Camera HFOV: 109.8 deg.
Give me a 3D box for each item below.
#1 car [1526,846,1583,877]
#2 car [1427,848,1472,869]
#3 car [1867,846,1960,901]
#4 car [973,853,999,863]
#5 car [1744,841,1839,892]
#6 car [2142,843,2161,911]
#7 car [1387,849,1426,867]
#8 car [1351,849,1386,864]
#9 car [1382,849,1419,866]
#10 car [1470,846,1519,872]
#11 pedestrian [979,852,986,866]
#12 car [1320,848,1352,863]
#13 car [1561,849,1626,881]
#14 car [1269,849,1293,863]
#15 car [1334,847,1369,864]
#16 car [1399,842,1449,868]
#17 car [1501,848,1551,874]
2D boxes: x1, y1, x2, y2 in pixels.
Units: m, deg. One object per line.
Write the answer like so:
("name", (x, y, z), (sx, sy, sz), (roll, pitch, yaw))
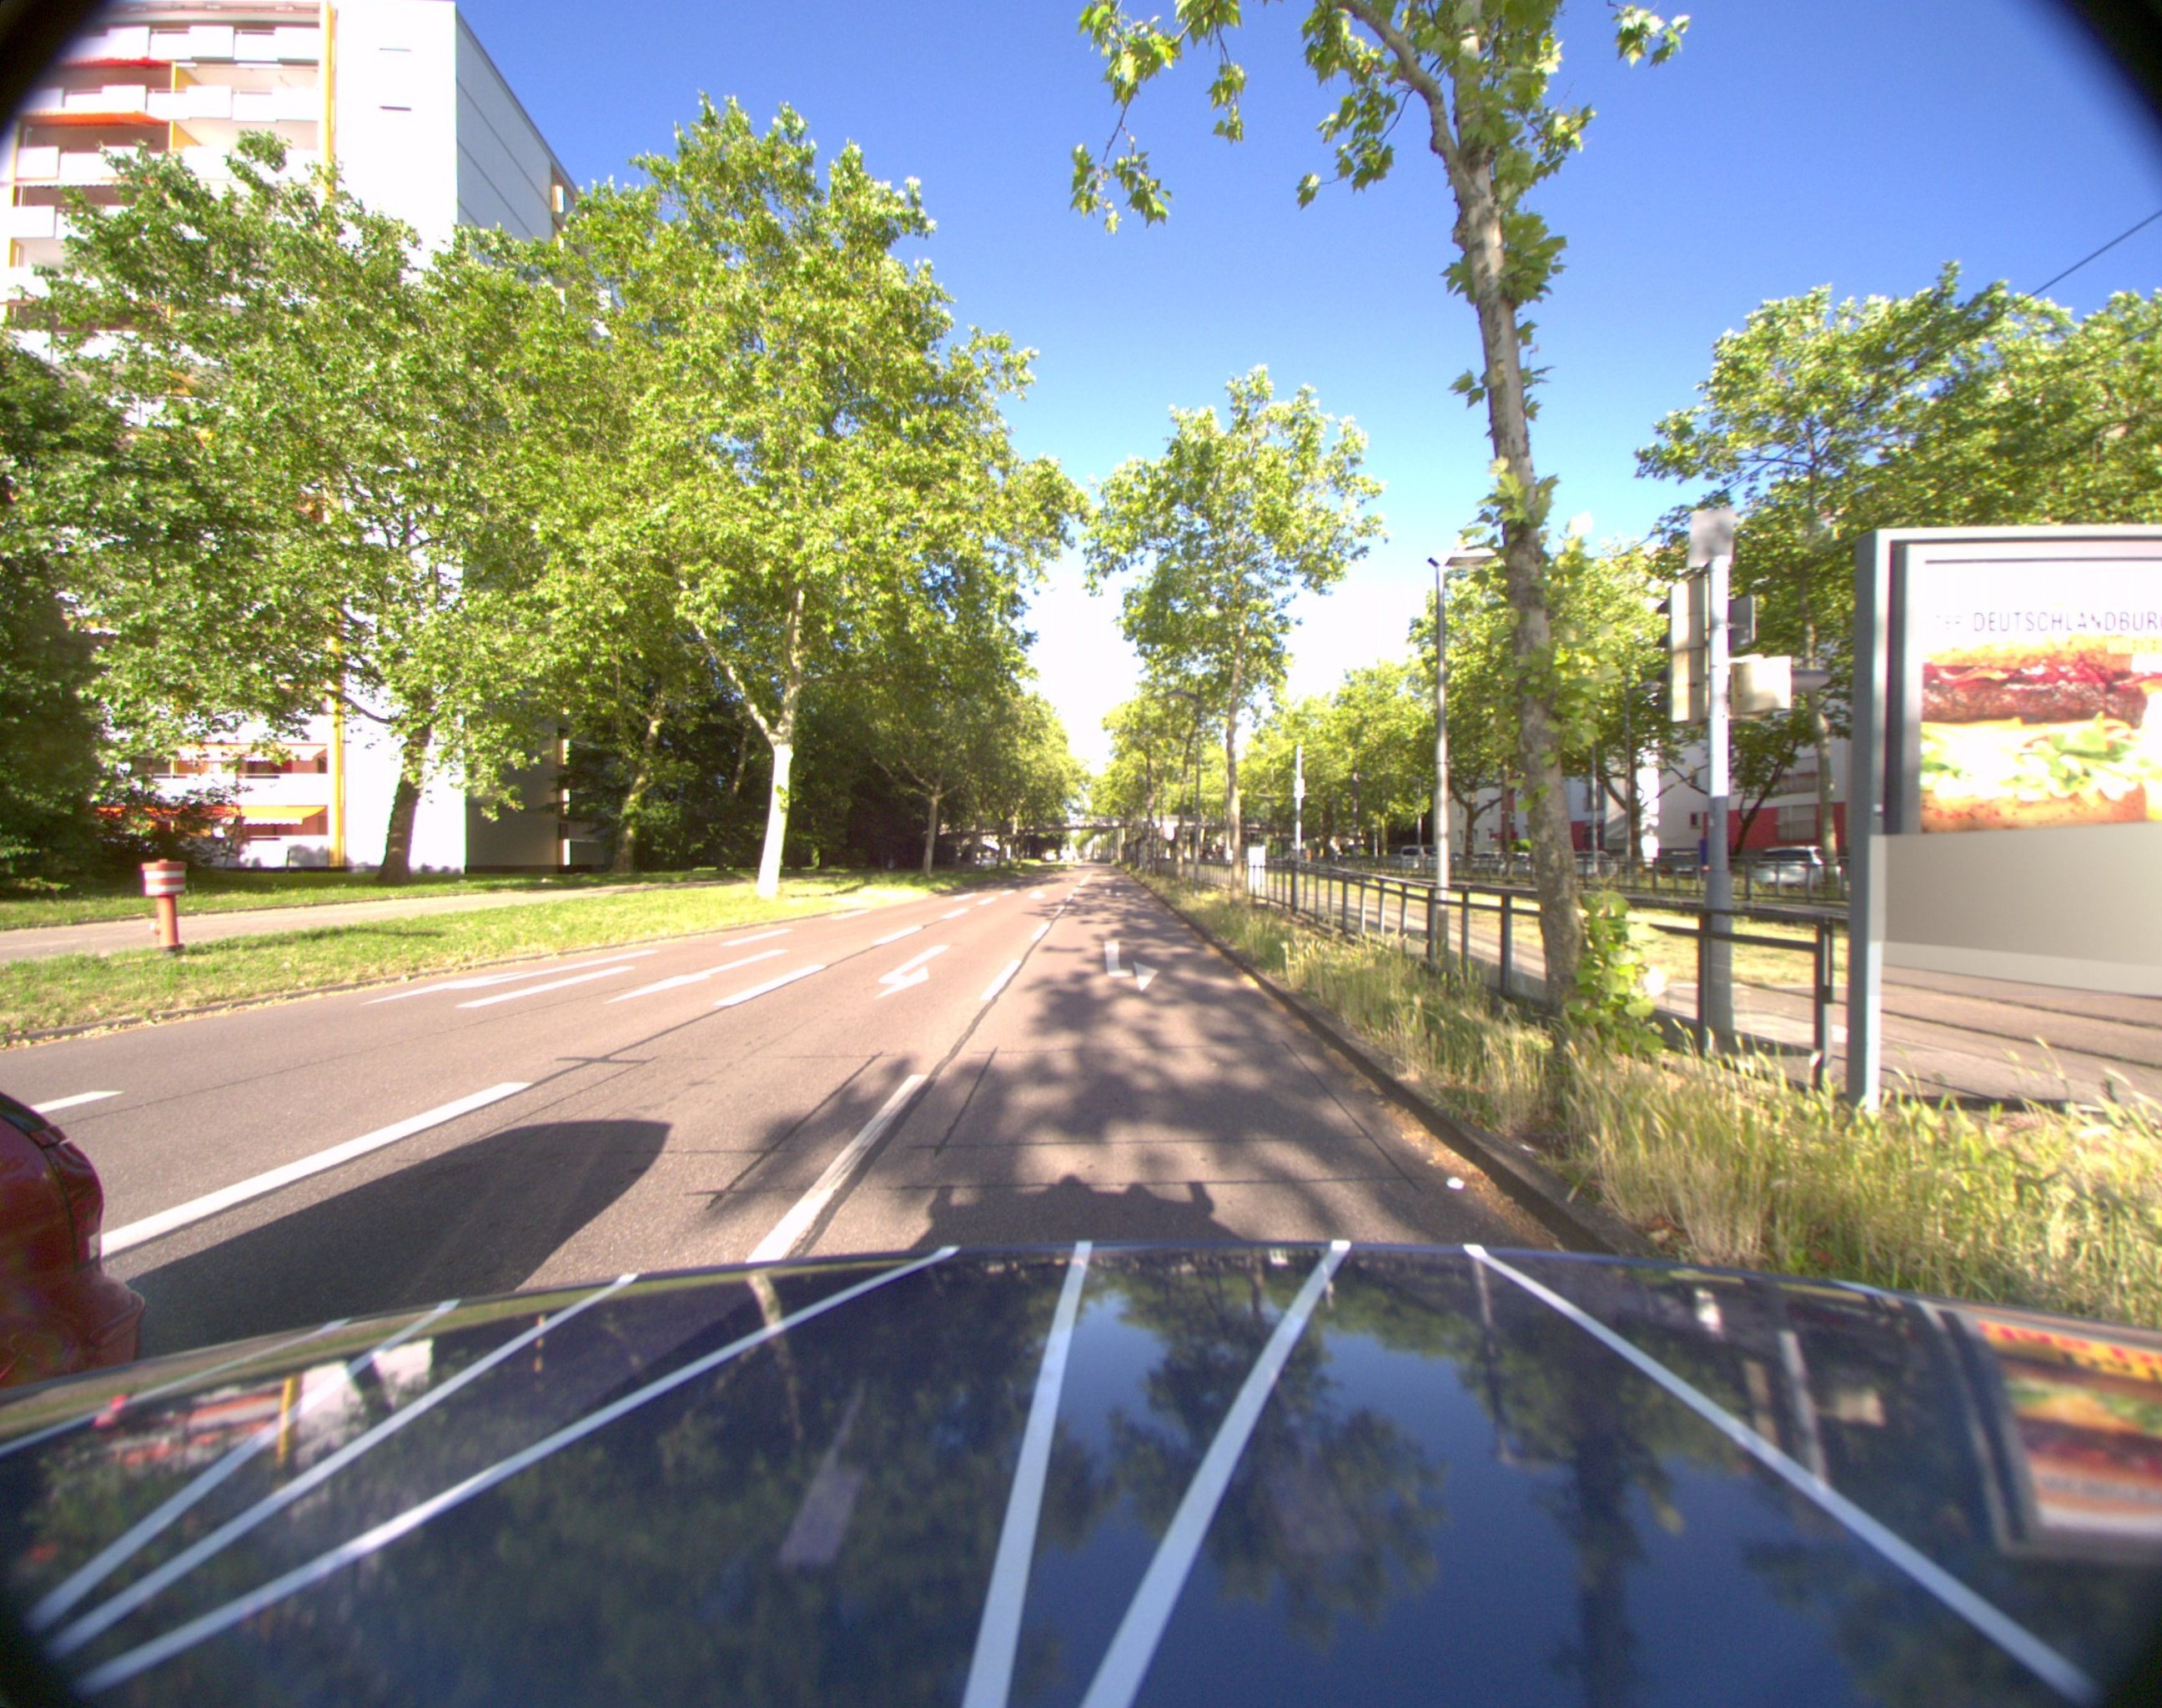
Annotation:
("car", (25.759, 0.402, 41.292), (3.402, 1.499, 1.461), (-3, 1, -37))
("car", (26.161, 0.312, 53.888), (3.494, 1.395, 1.623), (-1, 1, -41))
("car", (25.234, 0.544, 23.002), (3.770, 1.420, 1.555), (-3, 1, -37))
("car", (-15.140, 0.599, 121.328), (3.999, 1.465, 1.797), (-3, 1, -8))
("car", (25.219, 0.406, 26.931), (4.007, 1.586, 1.810), (-3, 1, -37))
("car", (24.573, 0.537, 16.214), (4.007, 1.479, 1.689), (-3, 1, -44))
("car", (25.866, 0.290, 60.330), (3.494, 1.336, 1.476), (-1, 1, -41))
("car", (26.407, 0.255, 69.789), (3.494, 1.312, 1.476), (-1, 1, -41))
("car", (26.937, 0.294, 64.018), (3.494, 1.293, 1.476), (-1, 1, -41))
("car", (25.877, 0.319, 47.462), (3.493, 1.417, 1.558), (-3, -1, -42))
("pedestrian", (-14.511, 0.690, 111.941), (0.918, 2.002, 0.962), (-2, 1, 2))
("car", (26.701, 0.112, 79.459), (3.742, 1.517, 1.597), (-1, 1, -43))
("car", (25.514, 0.522, 37.769), (3.890, 1.406, 1.486), (-3, 1, -37))
("car", (22.620, 0.245, 86.054), (1.810, 1.514, 4.332), (-1, 0, 5))
("car", (26.143, 0.136, 73.489), (3.835, 1.561, 1.597), (-1, 1, -43))
("car", (25.667, 0.063, 56.849), (4.056, 1.802, 1.864), (-1, 1, -40))
("car", (26.160, 0.422, 44.636), (3.493, 1.321, 1.476), (-3, 0, -41))
